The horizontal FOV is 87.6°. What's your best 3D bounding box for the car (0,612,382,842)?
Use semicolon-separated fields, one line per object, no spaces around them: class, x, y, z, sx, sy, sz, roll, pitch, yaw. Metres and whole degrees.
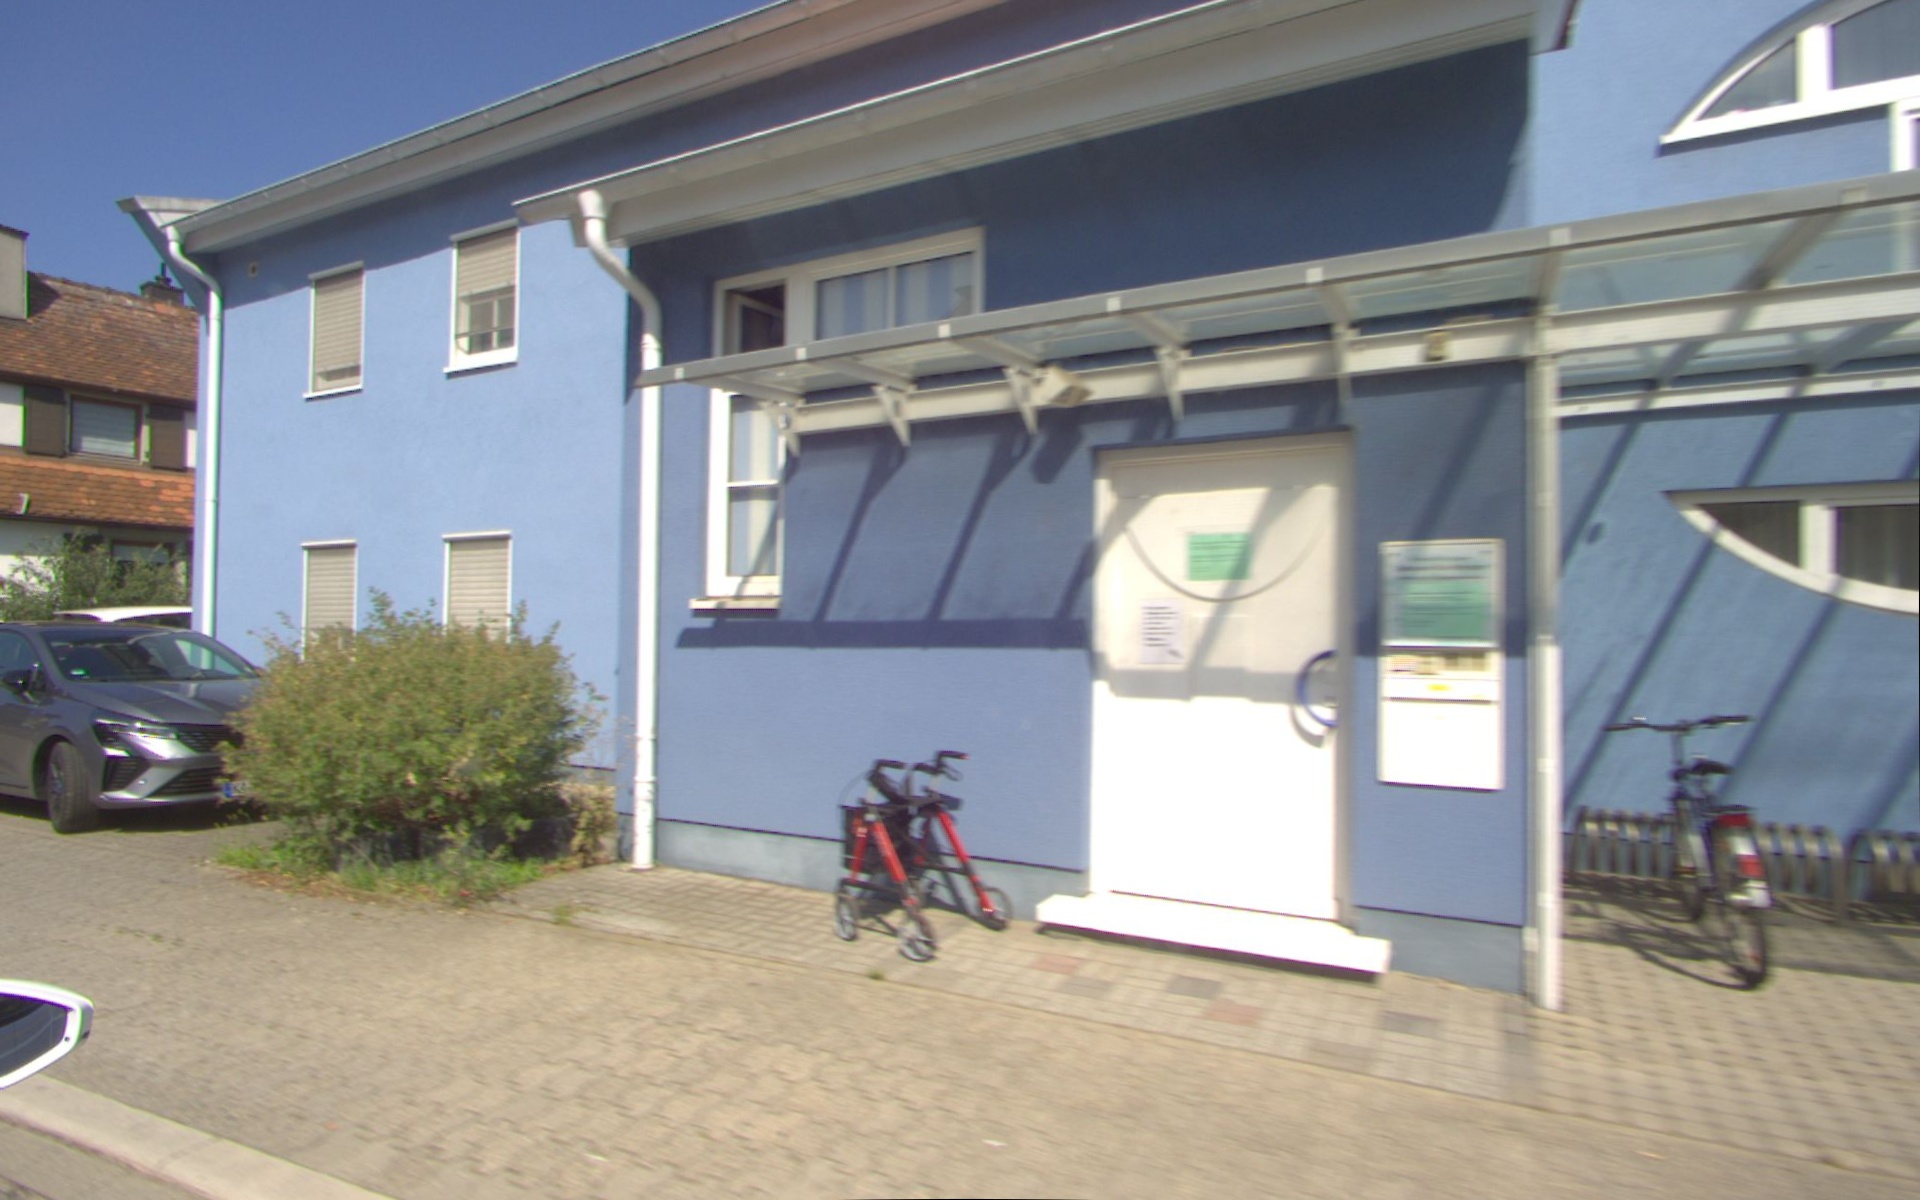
car;-6.710;0.859;7.957;4.079;1.437;1.690;-1;-3;27

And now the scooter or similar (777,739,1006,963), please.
scooter or similar;-0.309;1.122;4.715;0.815;0.825;0.727;-1;-2;31

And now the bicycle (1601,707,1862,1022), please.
bicycle;3.488;1.080;4.699;0.646;0.993;1.953;0;-1;28

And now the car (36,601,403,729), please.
car;-11.114;0.930;15.381;1.784;1.678;4.172;-1;-2;29
